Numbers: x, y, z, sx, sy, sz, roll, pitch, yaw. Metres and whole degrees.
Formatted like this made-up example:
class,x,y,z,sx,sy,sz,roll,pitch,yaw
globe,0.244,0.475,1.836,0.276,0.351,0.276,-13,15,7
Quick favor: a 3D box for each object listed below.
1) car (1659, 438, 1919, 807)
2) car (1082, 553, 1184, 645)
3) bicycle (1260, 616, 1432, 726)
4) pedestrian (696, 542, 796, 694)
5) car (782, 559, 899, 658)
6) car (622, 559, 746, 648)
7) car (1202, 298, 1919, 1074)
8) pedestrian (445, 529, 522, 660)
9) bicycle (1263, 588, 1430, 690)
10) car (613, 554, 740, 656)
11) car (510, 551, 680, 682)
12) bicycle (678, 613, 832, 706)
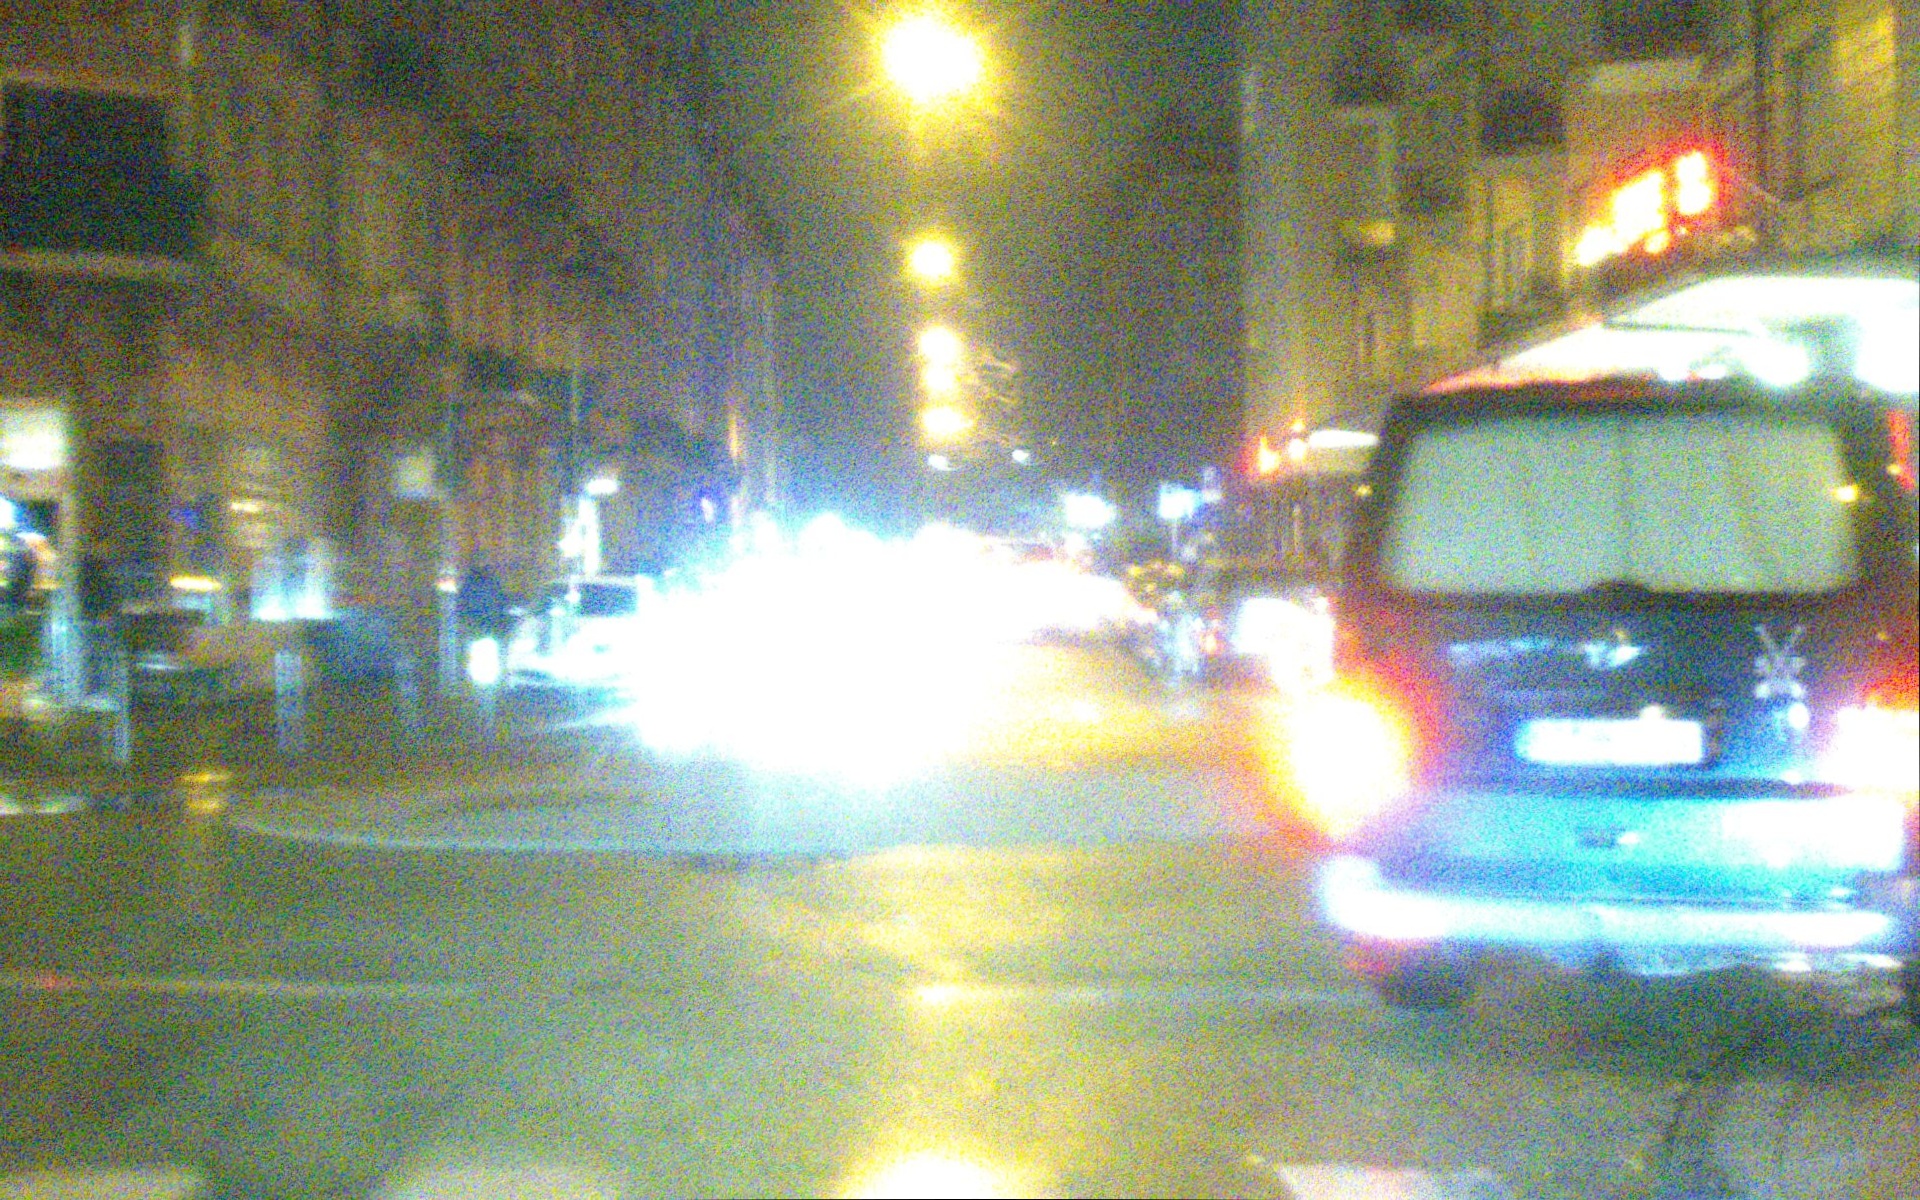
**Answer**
class,x,y,z,sx,sy,sz,roll,pitch,yaw
car,5.226,0.081,20.229,2.124,1.916,4.823,0,1,12
car,2.968,-0.006,59.386,1.592,1.538,3.420,0,0,0
bicycle,4.164,0.764,37.135,1.783,1.121,0.436,-1,1,-2
pedestrian,-2.576,0.209,41.524,1.122,1.805,0.715,-1,1,0
car,-1.829,0.109,53.658,1.563,1.422,4.069,-2,1,1
car,-4.516,0.033,56.662,1.690,1.396,4.317,0,1,0
car,2.650,0.193,11.249,2.125,1.984,4.594,0,1,26
pedestrian,-6.521,-0.075,47.108,0.804,1.760,1.015,1,0,6
bicycle,4.257,0.425,37.881,1.762,1.075,0.436,-1,1,-2
car,-4.172,0.049,51.043,1.586,1.444,3.503,0,1,0
car,-4.390,0.162,41.831,1.586,1.458,4.024,2,1,0
bicycle,-2.463,0.716,41.527,1.796,1.055,0.715,-1,1,0
